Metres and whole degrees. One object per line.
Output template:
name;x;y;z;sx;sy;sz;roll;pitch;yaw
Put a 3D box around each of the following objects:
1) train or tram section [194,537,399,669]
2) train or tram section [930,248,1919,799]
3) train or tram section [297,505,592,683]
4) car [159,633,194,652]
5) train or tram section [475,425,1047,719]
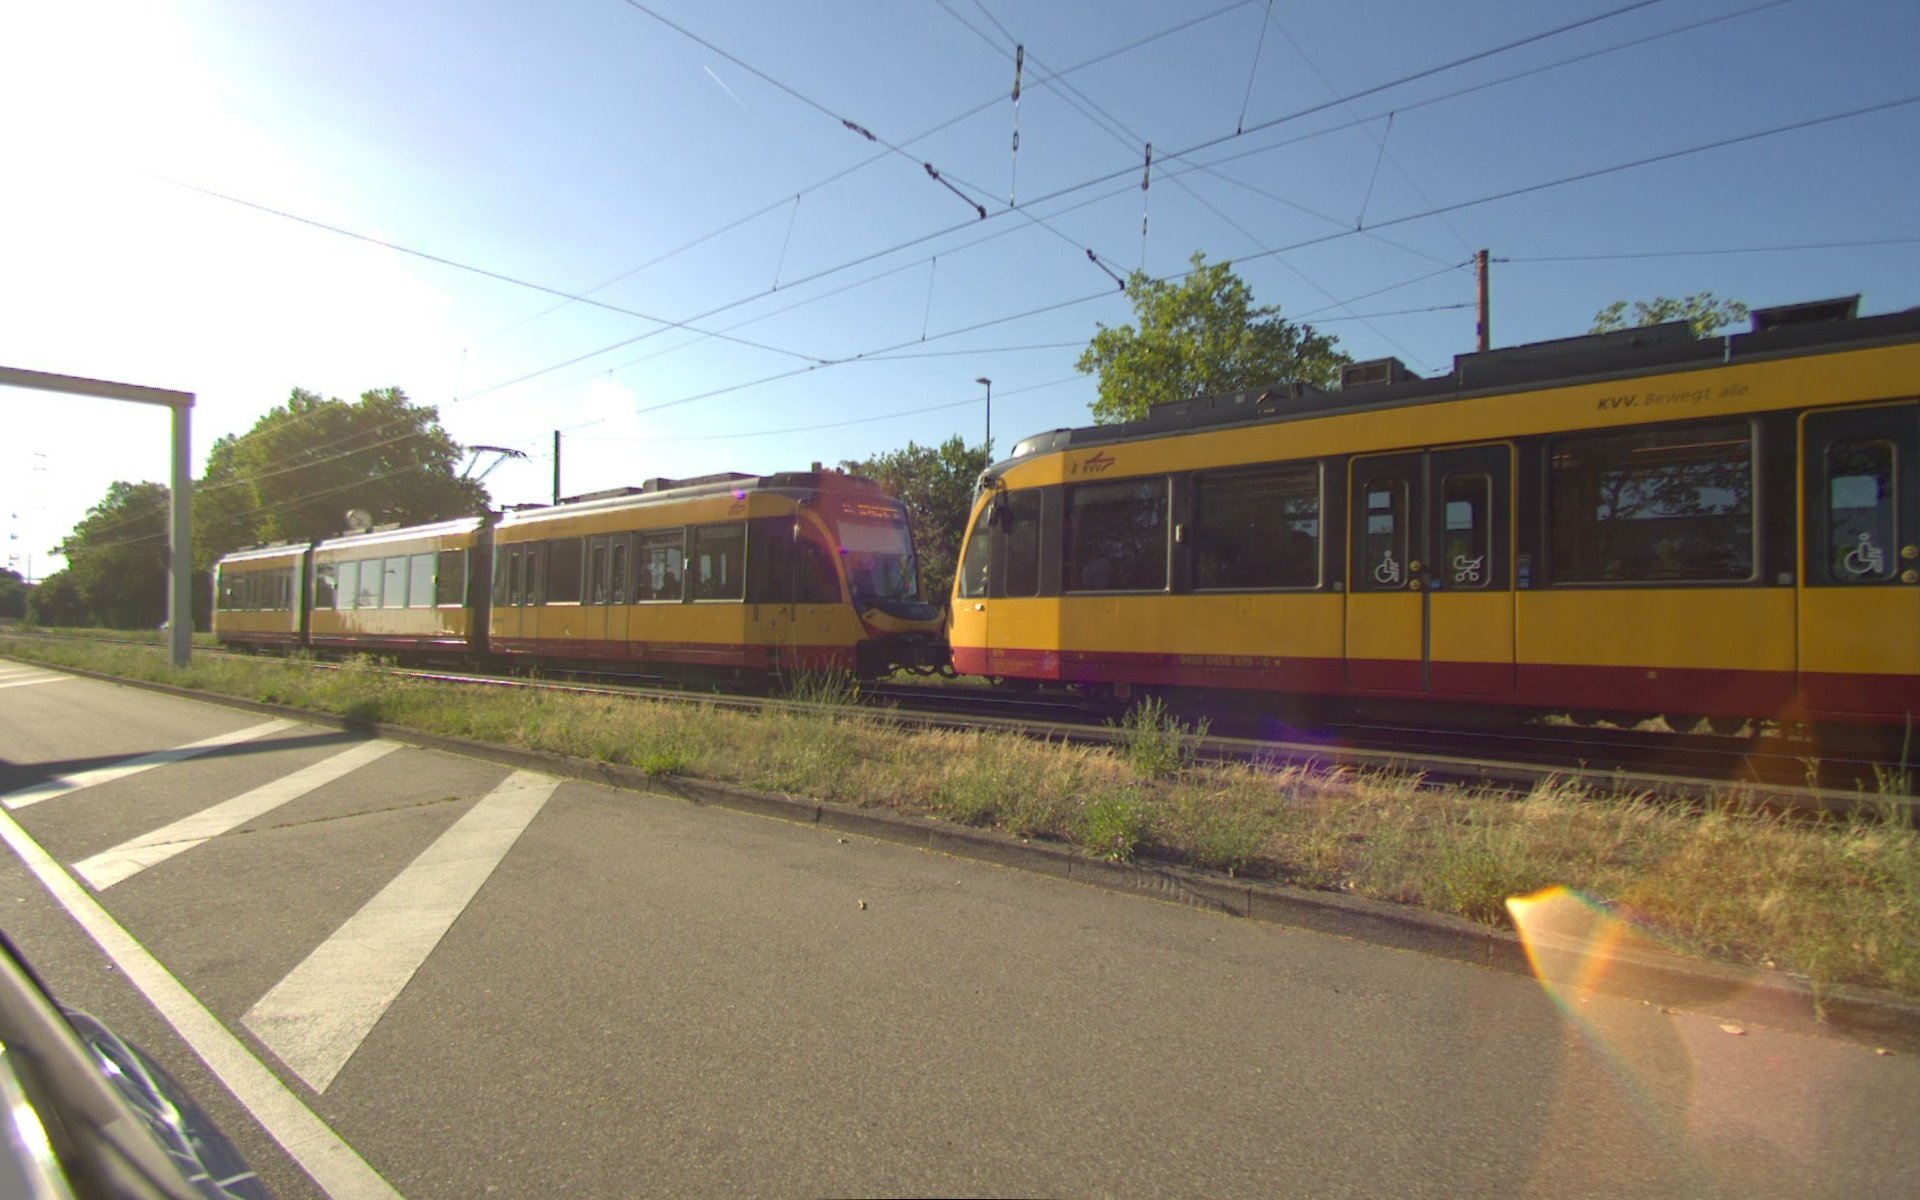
train or tram section;-23.395;0.207;35.287;11.658;3.977;2.854;-1;-2;41
train or tram section;5.105;-0.476;10.740;12.104;3.977;2.854;-1;-2;41
train or tram section;-14.452;-0.008;27.585;11.904;3.977;2.854;-1;-2;41
car;-69.104;3.712;89.234;3.998;1.528;1.740;-1;0;41
train or tram section;-4.738;-0.240;19.221;13.651;3.977;2.854;-1;-2;41
